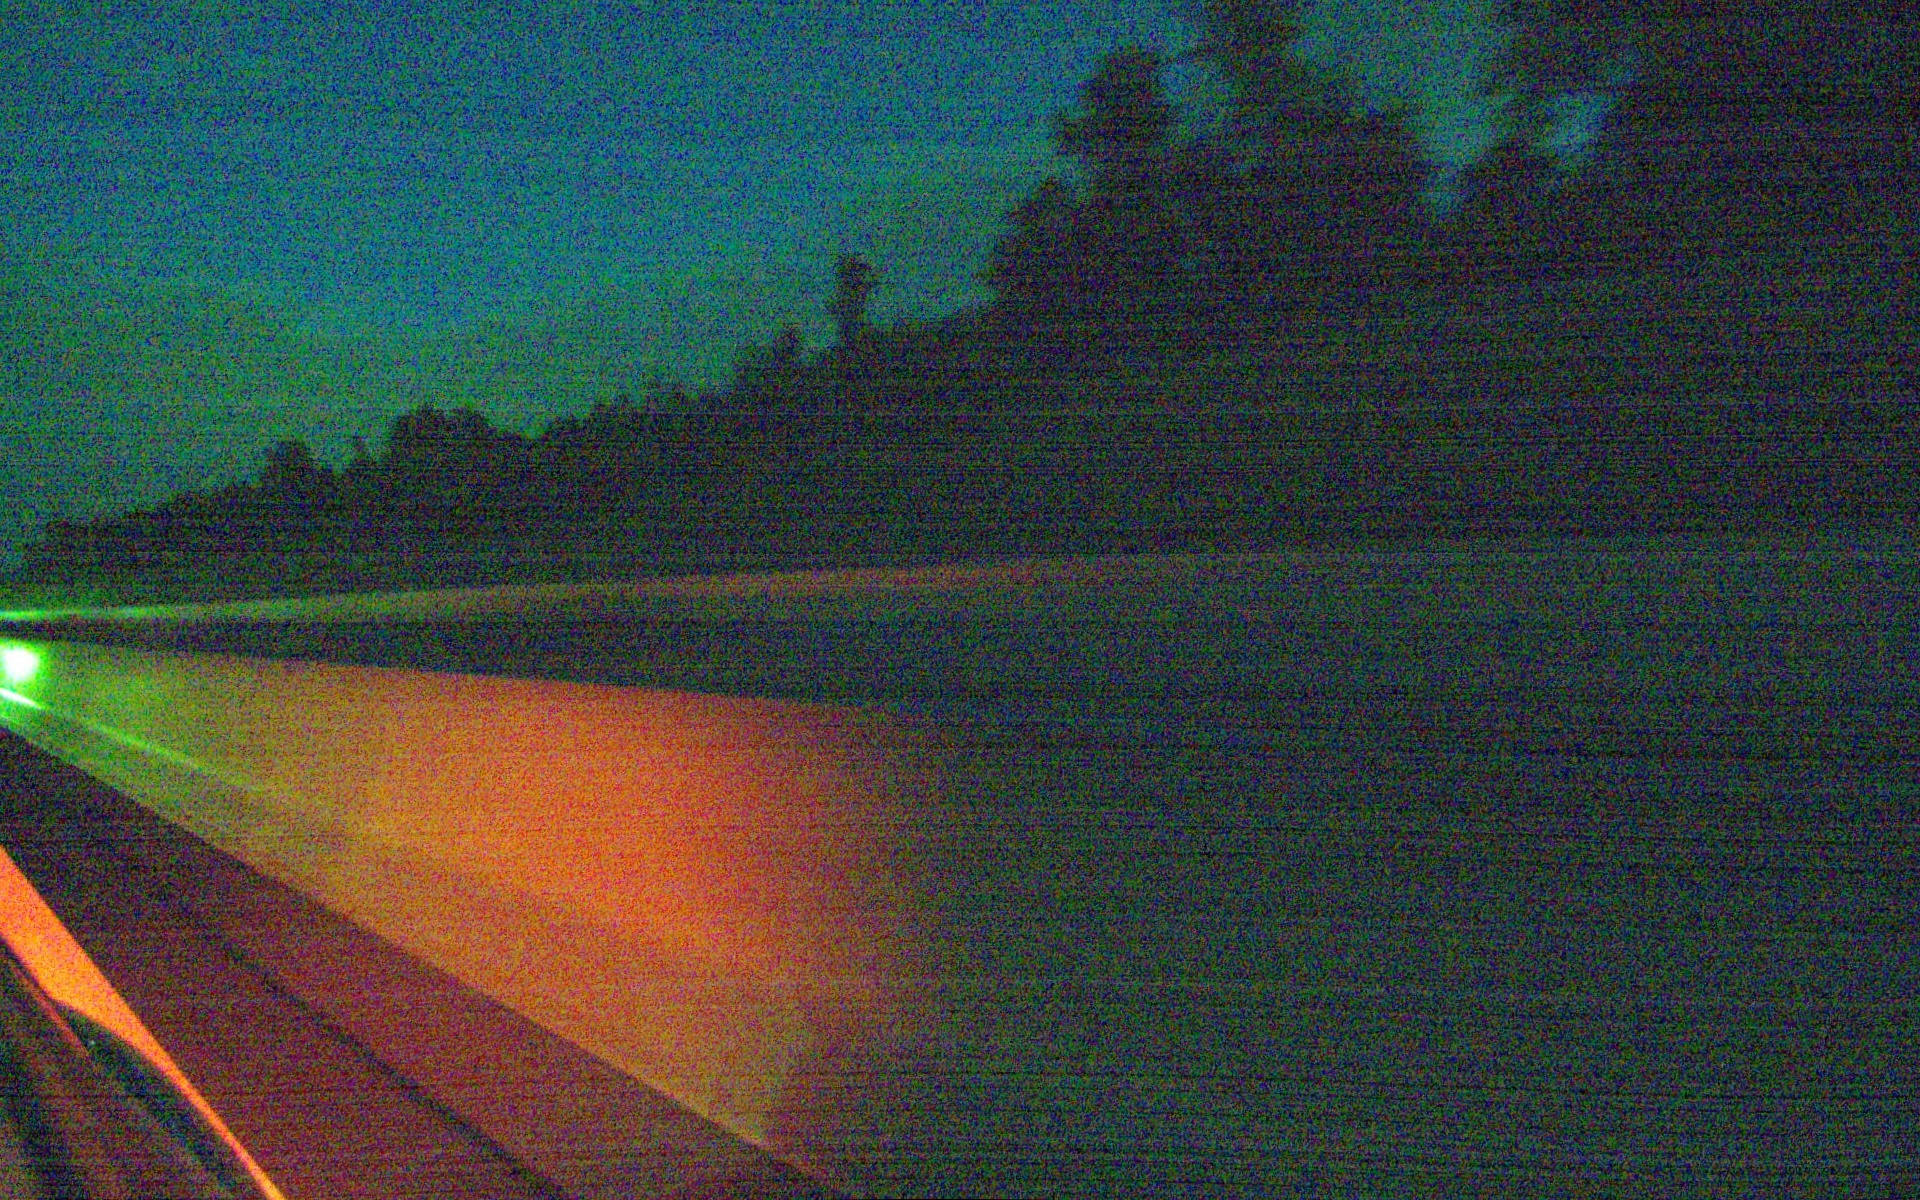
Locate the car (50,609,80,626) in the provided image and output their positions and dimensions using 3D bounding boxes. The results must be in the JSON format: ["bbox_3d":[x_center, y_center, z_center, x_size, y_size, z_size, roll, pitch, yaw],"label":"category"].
[{"bbox_3d":[-104.467,2.034,118.124,3.996,1.940,1.974,-2,-1,40],"label":"car"}]

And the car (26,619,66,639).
[{"bbox_3d":[-84.516,2.668,93.561,4.744,1.648,1.973,-3,2,40],"label":"car"}]
